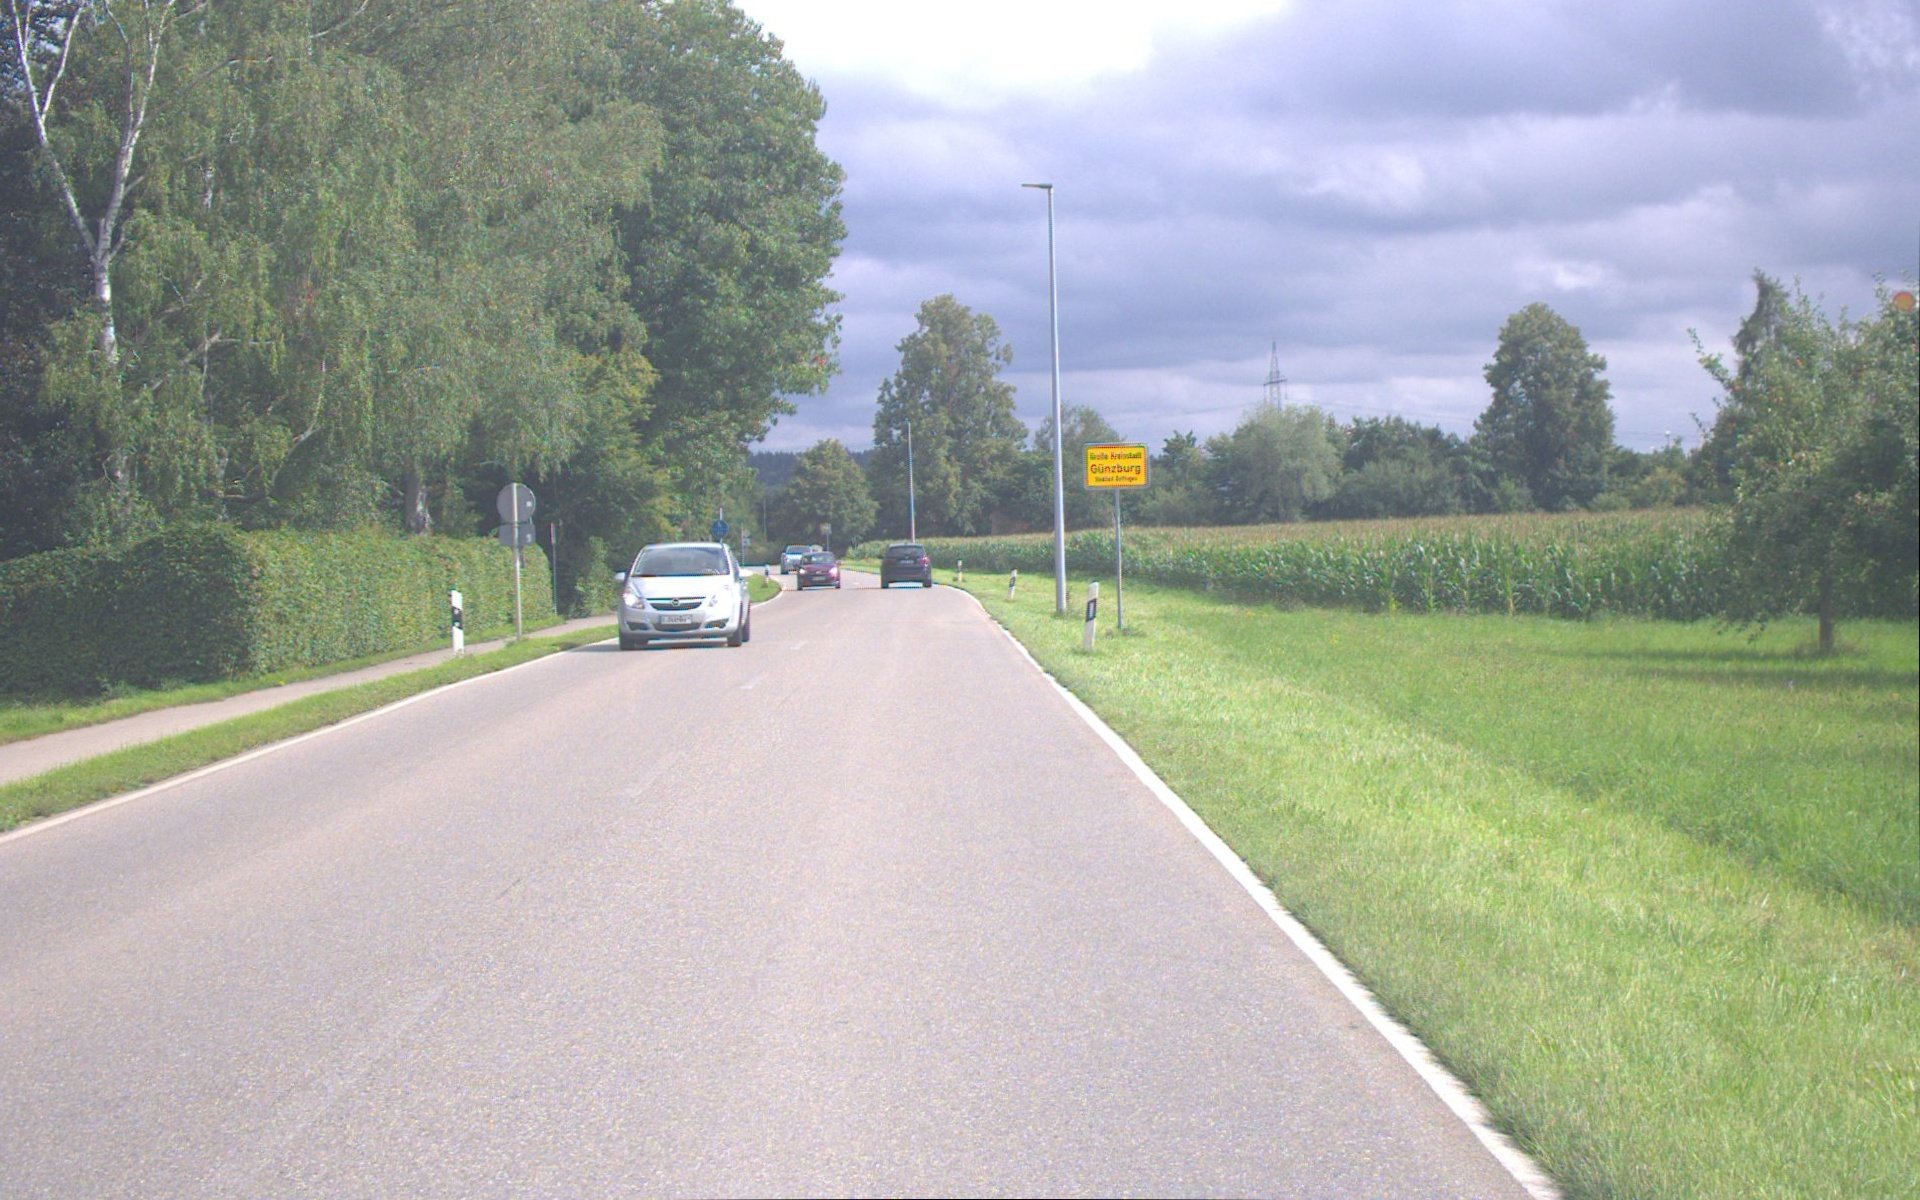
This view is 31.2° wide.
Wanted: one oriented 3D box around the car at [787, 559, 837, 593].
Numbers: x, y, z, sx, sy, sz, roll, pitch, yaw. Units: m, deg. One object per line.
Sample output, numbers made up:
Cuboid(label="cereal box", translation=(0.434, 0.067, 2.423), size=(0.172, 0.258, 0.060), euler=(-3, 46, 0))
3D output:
Cuboid(label="car", translation=(-5.739, -0.943, 133.561), size=(1.745, 1.218, 3.543), euler=(-2, 1, 0))

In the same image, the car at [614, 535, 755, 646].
Cuboid(label="car", translation=(-3.834, -0.158, 48.288), size=(1.695, 1.454, 3.543), euler=(-2, 1, 0))

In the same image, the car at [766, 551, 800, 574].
Cuboid(label="car", translation=(-10.121, -2.172, 196.866), size=(1.745, 1.218, 3.543), euler=(-2, 1, 0))

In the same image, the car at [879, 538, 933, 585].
Cuboid(label="car", translation=(-2.022, -1.458, 128.795), size=(1.906, 1.660, 4.000), euler=(-2, 1, -1))
